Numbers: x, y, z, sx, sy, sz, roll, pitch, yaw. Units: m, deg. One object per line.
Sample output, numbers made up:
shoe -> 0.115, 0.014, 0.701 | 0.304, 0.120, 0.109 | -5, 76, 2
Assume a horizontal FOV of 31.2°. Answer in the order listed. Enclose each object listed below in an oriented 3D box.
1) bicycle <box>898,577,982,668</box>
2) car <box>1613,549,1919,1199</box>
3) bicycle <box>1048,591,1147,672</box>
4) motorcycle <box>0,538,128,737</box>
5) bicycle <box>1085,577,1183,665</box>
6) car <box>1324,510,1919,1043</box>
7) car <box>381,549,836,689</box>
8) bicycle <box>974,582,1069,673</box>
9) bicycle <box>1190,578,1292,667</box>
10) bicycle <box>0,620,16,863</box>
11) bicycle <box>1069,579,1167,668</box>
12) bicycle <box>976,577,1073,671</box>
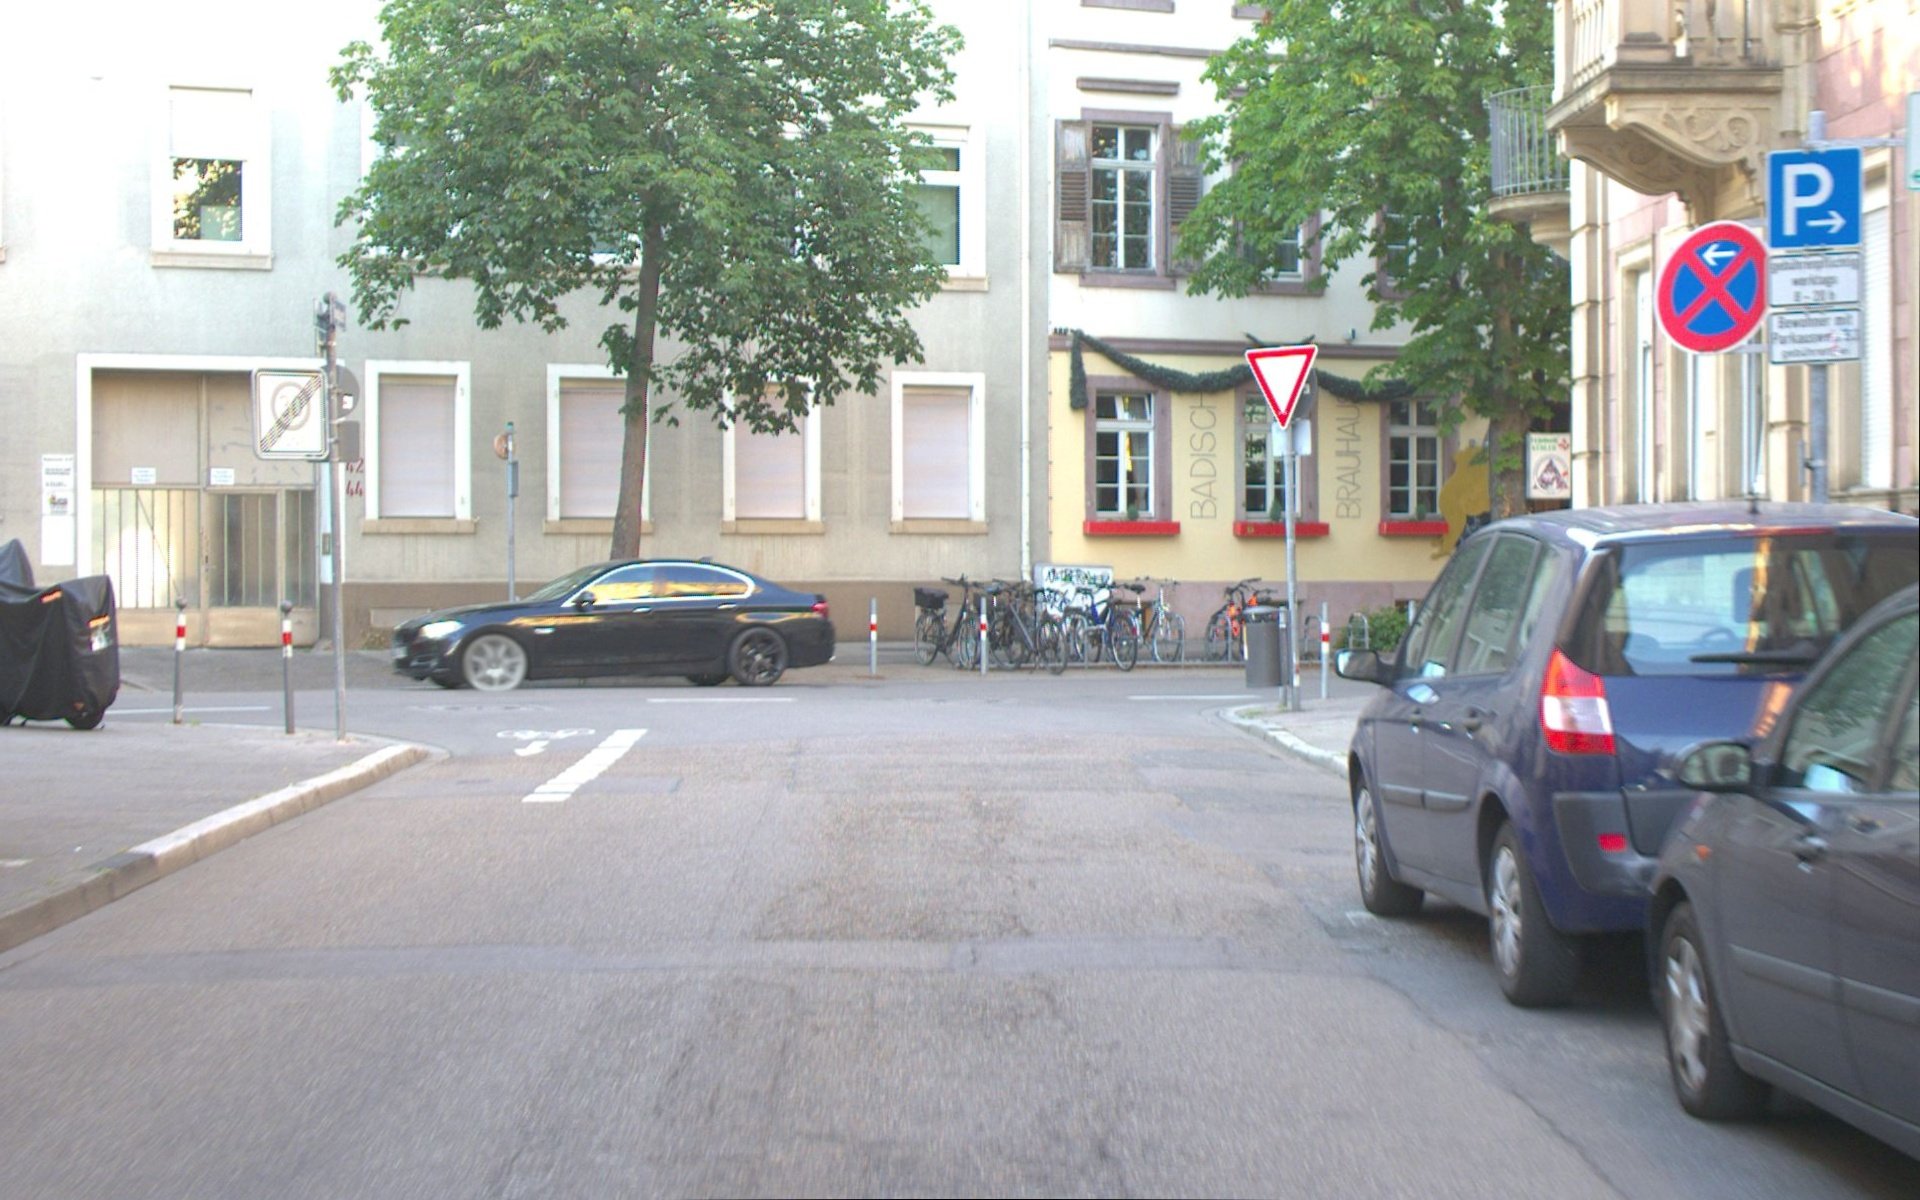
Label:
bicycle -> -0.269, 0.275, 44.763 | 0.445, 1.141, 2.043 | -1, 1, -20
car -> 2.729, 0.650, 7.546 | 1.689, 1.508, 4.283 | 0, 1, -1
bicycle -> 1.756, 0.392, 44.303 | 0.420, 1.000, 2.043 | -1, 1, -24
motorcycle -> -7.609, 0.282, 27.894 | 0.667, 1.550, 2.161 | -1, 1, -43
bicycle -> 2.316, 0.266, 45.993 | 0.420, 1.141, 2.043 | -1, 1, -24
car -> 2.423, 0.502, 12.474 | 1.689, 1.619, 4.055 | 0, 1, -1
car -> -3.858, 0.179, 37.779 | 4.651, 1.445, 1.768 | -1, 1, -22
bicycle -> 0.794, 0.345, 45.068 | 0.420, 1.141, 2.043 | -1, 1, -24
bicycle -> 3.700, 0.281, 45.435 | 0.420, 1.141, 2.043 | -1, 1, -24
bicycle -> -4.525, 0.658, 15.228 | 0.400, 1.098, 1.813 | 0, 1, -7
bicycle -> 2.074, 0.295, 45.336 | 0.420, 1.141, 2.043 | -1, 1, -24
bicycle -> 0.796, 0.286, 43.338 | 0.445, 1.141, 2.043 | -1, 1, -22
